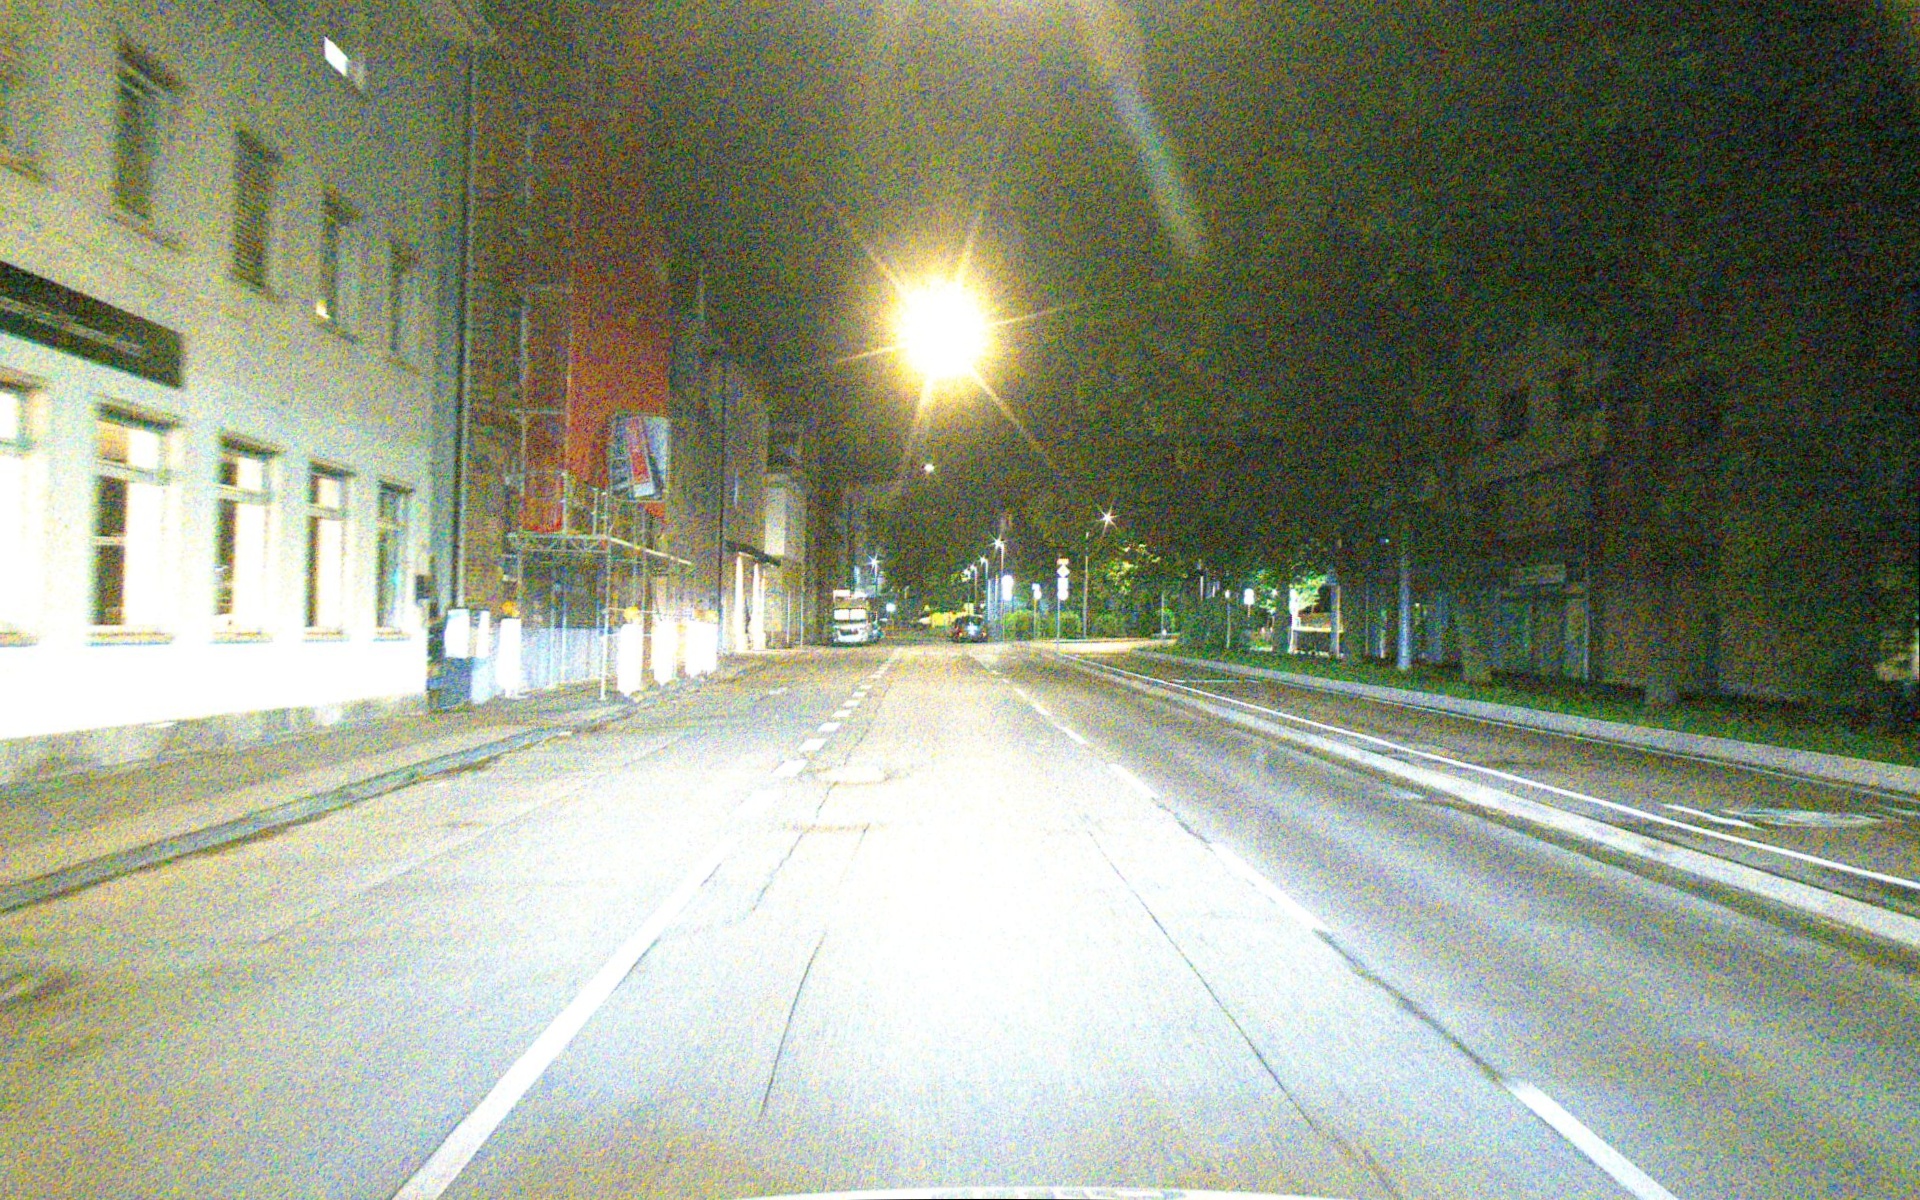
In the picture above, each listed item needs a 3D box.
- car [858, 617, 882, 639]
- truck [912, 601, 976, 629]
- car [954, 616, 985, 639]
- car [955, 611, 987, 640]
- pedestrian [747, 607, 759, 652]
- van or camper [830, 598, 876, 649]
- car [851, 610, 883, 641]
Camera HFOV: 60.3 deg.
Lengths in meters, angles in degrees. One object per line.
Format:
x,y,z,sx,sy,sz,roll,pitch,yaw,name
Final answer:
-6.614,2.048,121.860,1.670,1.536,4.098,1,-2,-2,car
-1.732,1.601,176.574,6.643,2.894,1.998,1,-1,-4,truck
0.578,1.756,104.503,1.923,1.407,3.999,0,-1,-1,car
0.674,1.533,99.102,1.845,1.631,4.107,-1,-1,1,car
-8.131,1.157,65.005,0.408,1.738,0.440,1,-2,-17,pedestrian
-5.679,1.254,88.496,2.115,2.580,6.224,-2,-1,-2,van or camper
-6.141,1.677,109.647,1.953,1.989,4.804,0,-1,-1,car
